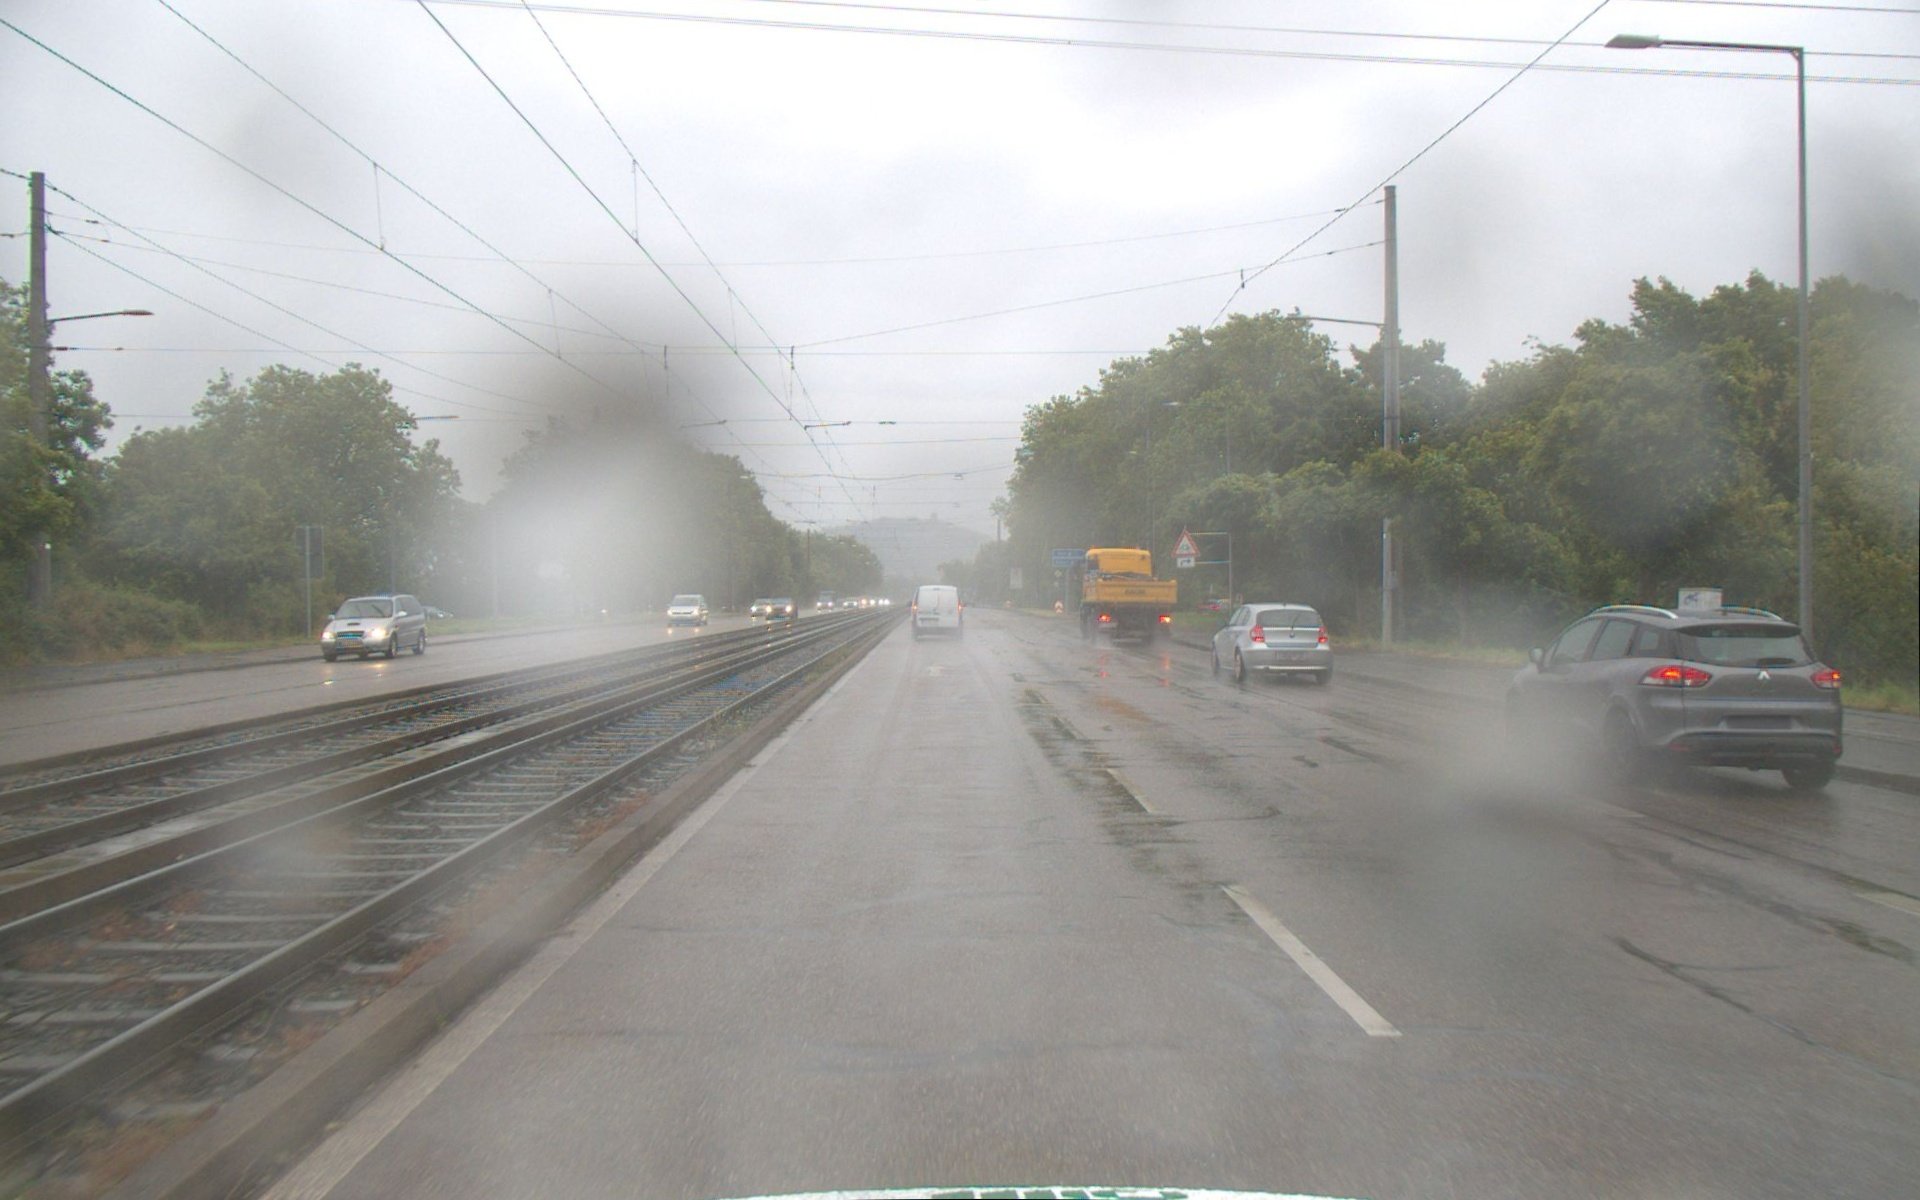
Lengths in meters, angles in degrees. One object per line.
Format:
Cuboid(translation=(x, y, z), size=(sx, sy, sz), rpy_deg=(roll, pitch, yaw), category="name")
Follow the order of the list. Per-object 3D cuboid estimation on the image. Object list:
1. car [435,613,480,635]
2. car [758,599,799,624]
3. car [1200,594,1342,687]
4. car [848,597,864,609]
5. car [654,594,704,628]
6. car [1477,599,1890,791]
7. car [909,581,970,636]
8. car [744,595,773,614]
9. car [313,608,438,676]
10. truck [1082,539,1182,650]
Cuboid(translation=(-43.407, 2.071, 142.854), size=(1.834, 1.716, 4.574), rpy_deg=(0, 1, -45), category="car")
Cuboid(translation=(-12.032, 0.760, 109.946), size=(1.952, 1.489, 5.253), rpy_deg=(-2, 1, 2), category="car")
Cuboid(translation=(5.768, 0.701, 31.205), size=(1.594, 1.529, 4.604), rpy_deg=(1, 1, -3), category="car")
Cuboid(translation=(-12.766, 0.367, 202.323), size=(1.706, 1.377, 4.545), rpy_deg=(1, 1, -1), category="car")
Cuboid(translation=(-14.307, 0.518, 84.444), size=(1.805, 1.601, 5.065), rpy_deg=(1, 1, -1), category="car")
Cuboid(translation=(6.250, 0.734, 14.901), size=(1.849, 1.380, 4.277), rpy_deg=(1, 1, 0), category="car")
Cuboid(translation=(-0.649, 0.251, 55.623), size=(1.948, 1.713, 3.740), rpy_deg=(1, 1, 0), category="car")
Cuboid(translation=(-15.897, 0.350, 130.944), size=(1.722, 1.386, 5.070), rpy_deg=(1, 1, -1), category="car")
Cuboid(translation=(-16.435, 1.139, 46.808), size=(1.788, 1.663, 5.136), rpy_deg=(1, 1, -1), category="car")
Cuboid(translation=(5.450, -0.234, 53.497), size=(2.503, 3.314, 6.933), rpy_deg=(1, 1, 0), category="truck")
